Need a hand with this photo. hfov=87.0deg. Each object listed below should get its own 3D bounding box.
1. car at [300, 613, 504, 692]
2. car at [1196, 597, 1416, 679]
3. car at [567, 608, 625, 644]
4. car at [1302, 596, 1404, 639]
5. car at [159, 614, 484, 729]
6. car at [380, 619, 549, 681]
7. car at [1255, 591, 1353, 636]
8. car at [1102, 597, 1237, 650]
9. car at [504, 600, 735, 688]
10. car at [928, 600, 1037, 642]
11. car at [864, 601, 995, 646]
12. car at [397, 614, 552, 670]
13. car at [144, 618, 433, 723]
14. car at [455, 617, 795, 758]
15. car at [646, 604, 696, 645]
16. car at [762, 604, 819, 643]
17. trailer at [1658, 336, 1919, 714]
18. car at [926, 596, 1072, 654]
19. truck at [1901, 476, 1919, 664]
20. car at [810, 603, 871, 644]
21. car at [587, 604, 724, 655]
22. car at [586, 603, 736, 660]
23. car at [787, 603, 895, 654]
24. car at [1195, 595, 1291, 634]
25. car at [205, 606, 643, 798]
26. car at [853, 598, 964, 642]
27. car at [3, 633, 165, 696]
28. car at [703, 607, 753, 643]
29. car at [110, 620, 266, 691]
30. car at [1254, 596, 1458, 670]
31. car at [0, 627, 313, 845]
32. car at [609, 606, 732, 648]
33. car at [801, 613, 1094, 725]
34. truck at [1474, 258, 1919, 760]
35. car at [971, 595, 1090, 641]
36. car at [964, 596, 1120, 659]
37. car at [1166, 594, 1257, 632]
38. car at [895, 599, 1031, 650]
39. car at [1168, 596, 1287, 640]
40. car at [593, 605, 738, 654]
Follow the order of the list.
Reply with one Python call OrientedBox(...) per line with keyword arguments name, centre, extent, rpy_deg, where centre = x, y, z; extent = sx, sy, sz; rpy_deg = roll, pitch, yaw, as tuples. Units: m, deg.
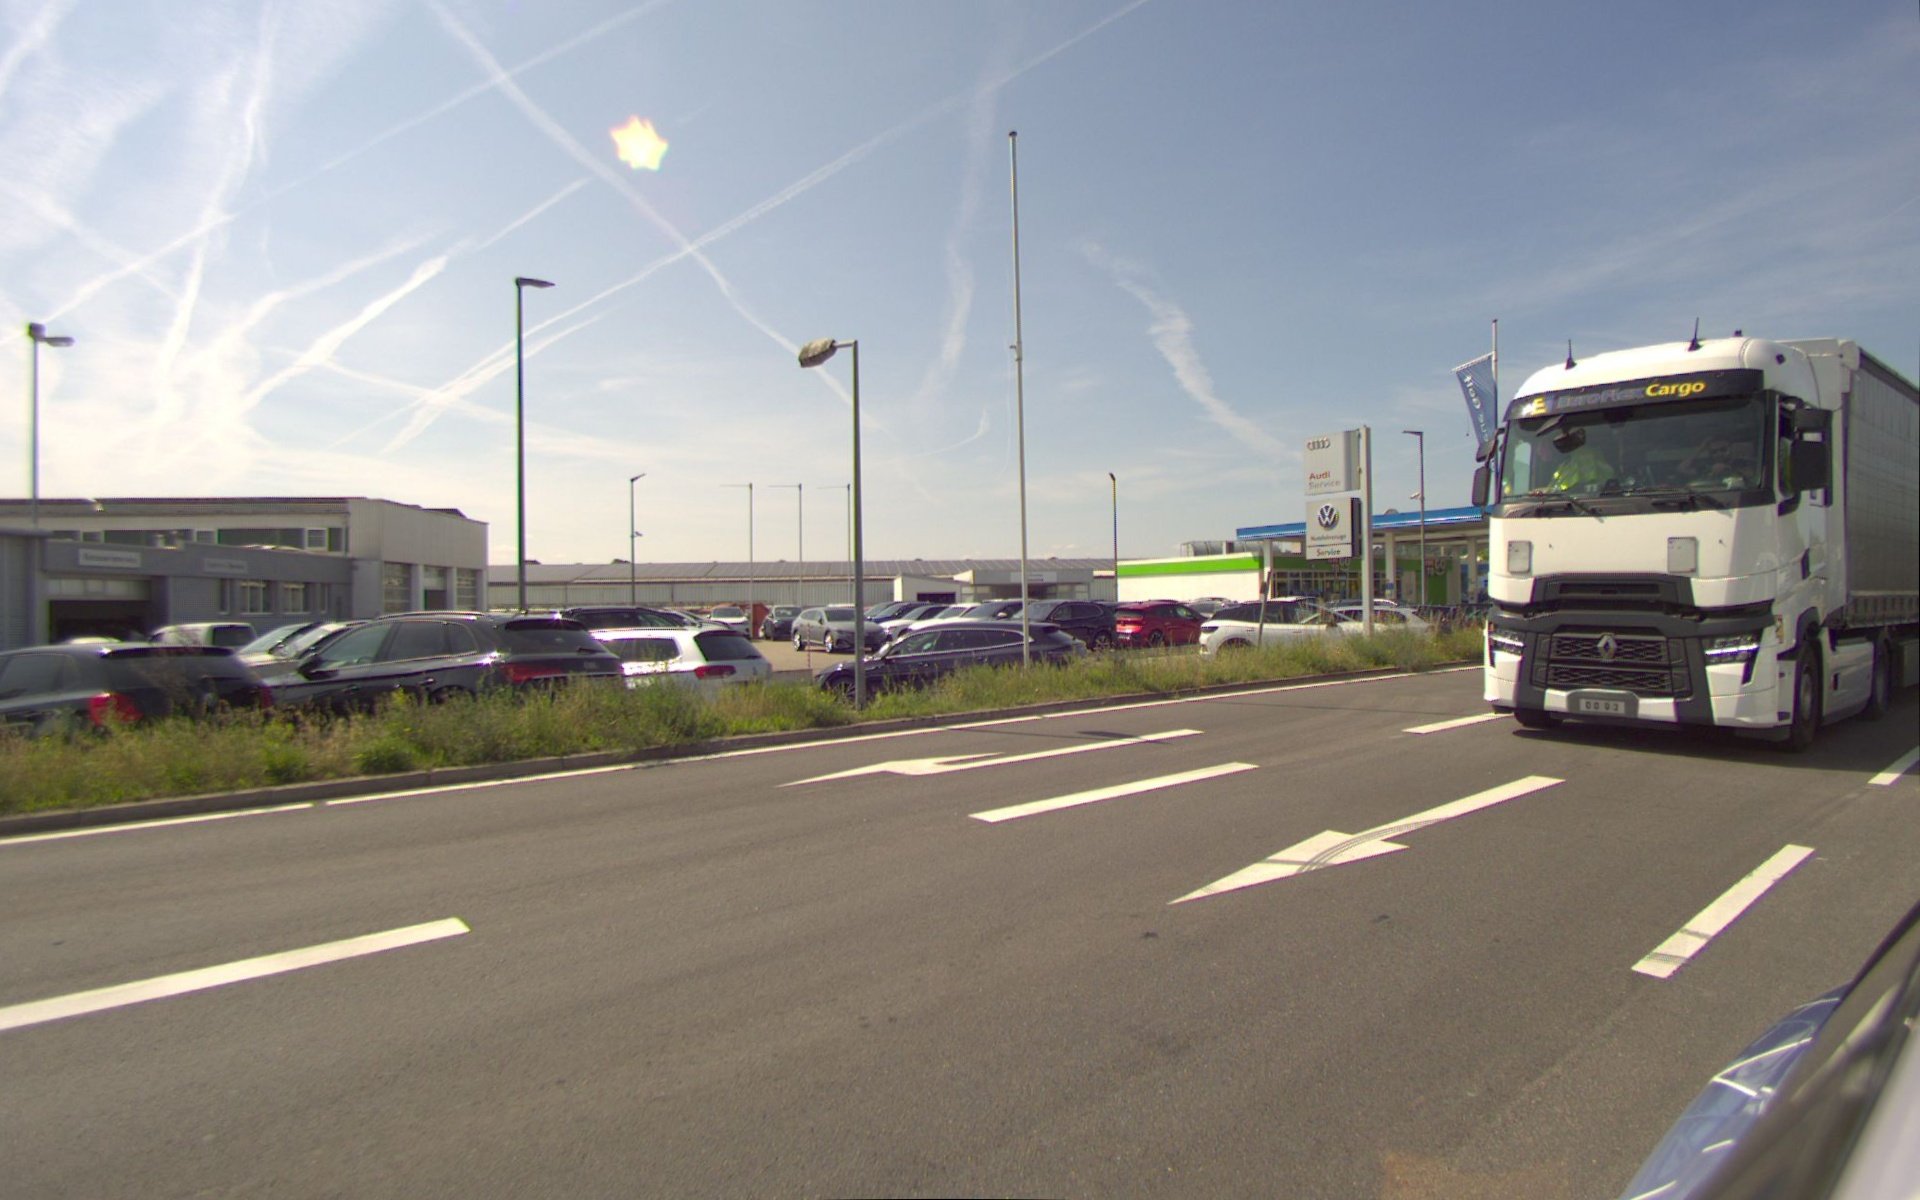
OrientedBox(name="car", centre=(-14.303, 1.271, 26.041), extent=(4.452, 1.751, 1.823), rpy_deg=(-1, 0, -35))
OrientedBox(name="car", centre=(7.706, 0.779, 22.651), extent=(4.487, 1.675, 1.762), rpy_deg=(0, 0, 24))
OrientedBox(name="car", centre=(-21.173, 1.483, 59.000), extent=(2.167, 1.955, 4.163), rpy_deg=(0, 0, -4))
OrientedBox(name="car", centre=(15.463, 0.640, 39.760), extent=(4.069, 1.600, 1.776), rpy_deg=(-1, 0, -35))
OrientedBox(name="car", centre=(-11.223, 1.141, 18.023), extent=(4.633, 1.675, 1.903), rpy_deg=(-1, 1, -45))
OrientedBox(name="car", centre=(-15.436, 1.498, 31.680), extent=(4.464, 1.675, 1.771), rpy_deg=(-1, 0, -45))
OrientedBox(name="car", centre=(14.237, 0.520, 41.809), extent=(4.179, 1.734, 1.714), rpy_deg=(-1, 0, -35))
OrientedBox(name="car", centre=(6.868, 0.710, 33.000), extent=(4.452, 1.600, 1.776), rpy_deg=(-1, 0, -35))
OrientedBox(name="car", centre=(-7.349, 0.865, 22.051), extent=(4.455, 1.675, 1.775), rpy_deg=(-1, 0, -38))
OrientedBox(name="car", centre=(0.985, 0.882, 44.060), extent=(4.444, 1.675, 1.779), rpy_deg=(-1, 0, -25))
OrientedBox(name="car", centre=(-1.054, 0.805, 36.151), extent=(4.452, 1.459, 1.776), rpy_deg=(-1, 0, -35))
OrientedBox(name="car", centre=(-16.296, 1.352, 34.068), extent=(4.453, 1.675, 1.775), rpy_deg=(-1, 0, -36))
OrientedBox(name="car", centre=(-13.054, 1.267, 19.858), extent=(4.464, 1.675, 1.964), rpy_deg=(-1, 1, -45))
OrientedBox(name="car", centre=(-4.222, 0.990, 12.736), extent=(3.957, 1.476, 1.761), rpy_deg=(0, 0, 25))
OrientedBox(name="car", centre=(-12.964, 1.056, 45.256), extent=(2.025, 1.675, 4.547), rpy_deg=(0, 0, -17))
OrientedBox(name="car", centre=(-7.969, 1.059, 47.203), extent=(2.025, 1.675, 4.547), rpy_deg=(0, 0, -17))
OrientedBox(name="trailer", centre=(14.430, -0.912, 15.954), extent=(11.089, 4.281, 2.613), rpy_deg=(-1, 0, -39))
OrientedBox(name="car", centre=(1.282, 0.725, 31.892), extent=(4.452, 1.675, 1.776), rpy_deg=(-1, 0, -35))
OrientedBox(name="truck", centre=(24.834, -0.681, 23.645), extent=(9.068, 4.037, 2.648), rpy_deg=(-1, 0, -37))
OrientedBox(name="car", centre=(-5.635, 1.032, 47.308), extent=(2.025, 1.750, 4.547), rpy_deg=(0, 0, -17))
OrientedBox(name="car", centre=(-10.538, 0.979, 35.083), extent=(4.442, 1.603, 1.827), rpy_deg=(0, 0, -19))
OrientedBox(name="car", centre=(-8.827, 0.893, 29.910), extent=(4.119, 1.560, 1.827), rpy_deg=(0, 0, -19))
OrientedBox(name="car", centre=(-3.952, 0.860, 32.862), extent=(1.910, 1.477, 4.543), rpy_deg=(0, 0, -29))
OrientedBox(name="car", centre=(12.247, 0.579, 43.754), extent=(4.158, 1.600, 1.776), rpy_deg=(-1, 0, -35))
OrientedBox(name="car", centre=(-5.495, 0.919, 10.470), extent=(3.945, 1.675, 1.766), rpy_deg=(0, 0, 17))
OrientedBox(name="car", centre=(-1.936, 0.739, 38.768), extent=(4.051, 1.551, 1.609), rpy_deg=(-1, 0, -35))
OrientedBox(name="car", centre=(-24.304, 1.741, 28.089), extent=(4.028, 1.510, 1.764), rpy_deg=(0, 0, 22))
OrientedBox(name="car", centre=(-10.688, 1.107, 46.421), extent=(1.899, 1.515, 4.547), rpy_deg=(0, 0, -17))
OrientedBox(name="car", centre=(-23.440, 1.622, 30.723), extent=(4.484, 1.973, 1.763), rpy_deg=(0, 0, 22))
OrientedBox(name="car", centre=(9.607, 0.750, 24.682), extent=(4.489, 1.675, 1.761), rpy_deg=(0, 0, 25))
OrientedBox(name="car", centre=(-8.119, 1.064, 9.028), extent=(3.941, 1.572, 1.768), rpy_deg=(0, 0, 14))
OrientedBox(name="car", centre=(-11.160, 1.000, 39.027), extent=(4.442, 1.493, 1.827), rpy_deg=(0, 0, -19))
OrientedBox(name="car", centre=(-0.192, 1.043, 16.524), extent=(4.479, 1.600, 1.765), rpy_deg=(0, 0, 19))
OrientedBox(name="truck", centre=(8.320, -0.767, 11.056), extent=(5.933, 4.037, 2.646), rpy_deg=(-1, 0, -39))
OrientedBox(name="car", centre=(2.761, 0.645, 39.466), extent=(4.449, 1.675, 1.777), rpy_deg=(-1, 0, -32))
OrientedBox(name="car", centre=(2.433, 0.741, 29.558), extent=(4.452, 1.675, 1.776), rpy_deg=(-1, 0, -35))
OrientedBox(name="car", centre=(11.478, 0.561, 46.106), extent=(4.242, 1.600, 1.722), rpy_deg=(-1, 0, -35))
OrientedBox(name="car", centre=(0.151, 0.775, 34.084), extent=(4.452, 1.545, 1.691), rpy_deg=(-1, 0, -35))
OrientedBox(name="car", centre=(10.454, 0.652, 39.828), extent=(1.742, 1.600, 4.539), rpy_deg=(0, 0, -33))
OrientedBox(name="car", centre=(-9.512, 0.924, 32.758), extent=(4.390, 1.449, 1.827), rpy_deg=(0, 0, -19))
